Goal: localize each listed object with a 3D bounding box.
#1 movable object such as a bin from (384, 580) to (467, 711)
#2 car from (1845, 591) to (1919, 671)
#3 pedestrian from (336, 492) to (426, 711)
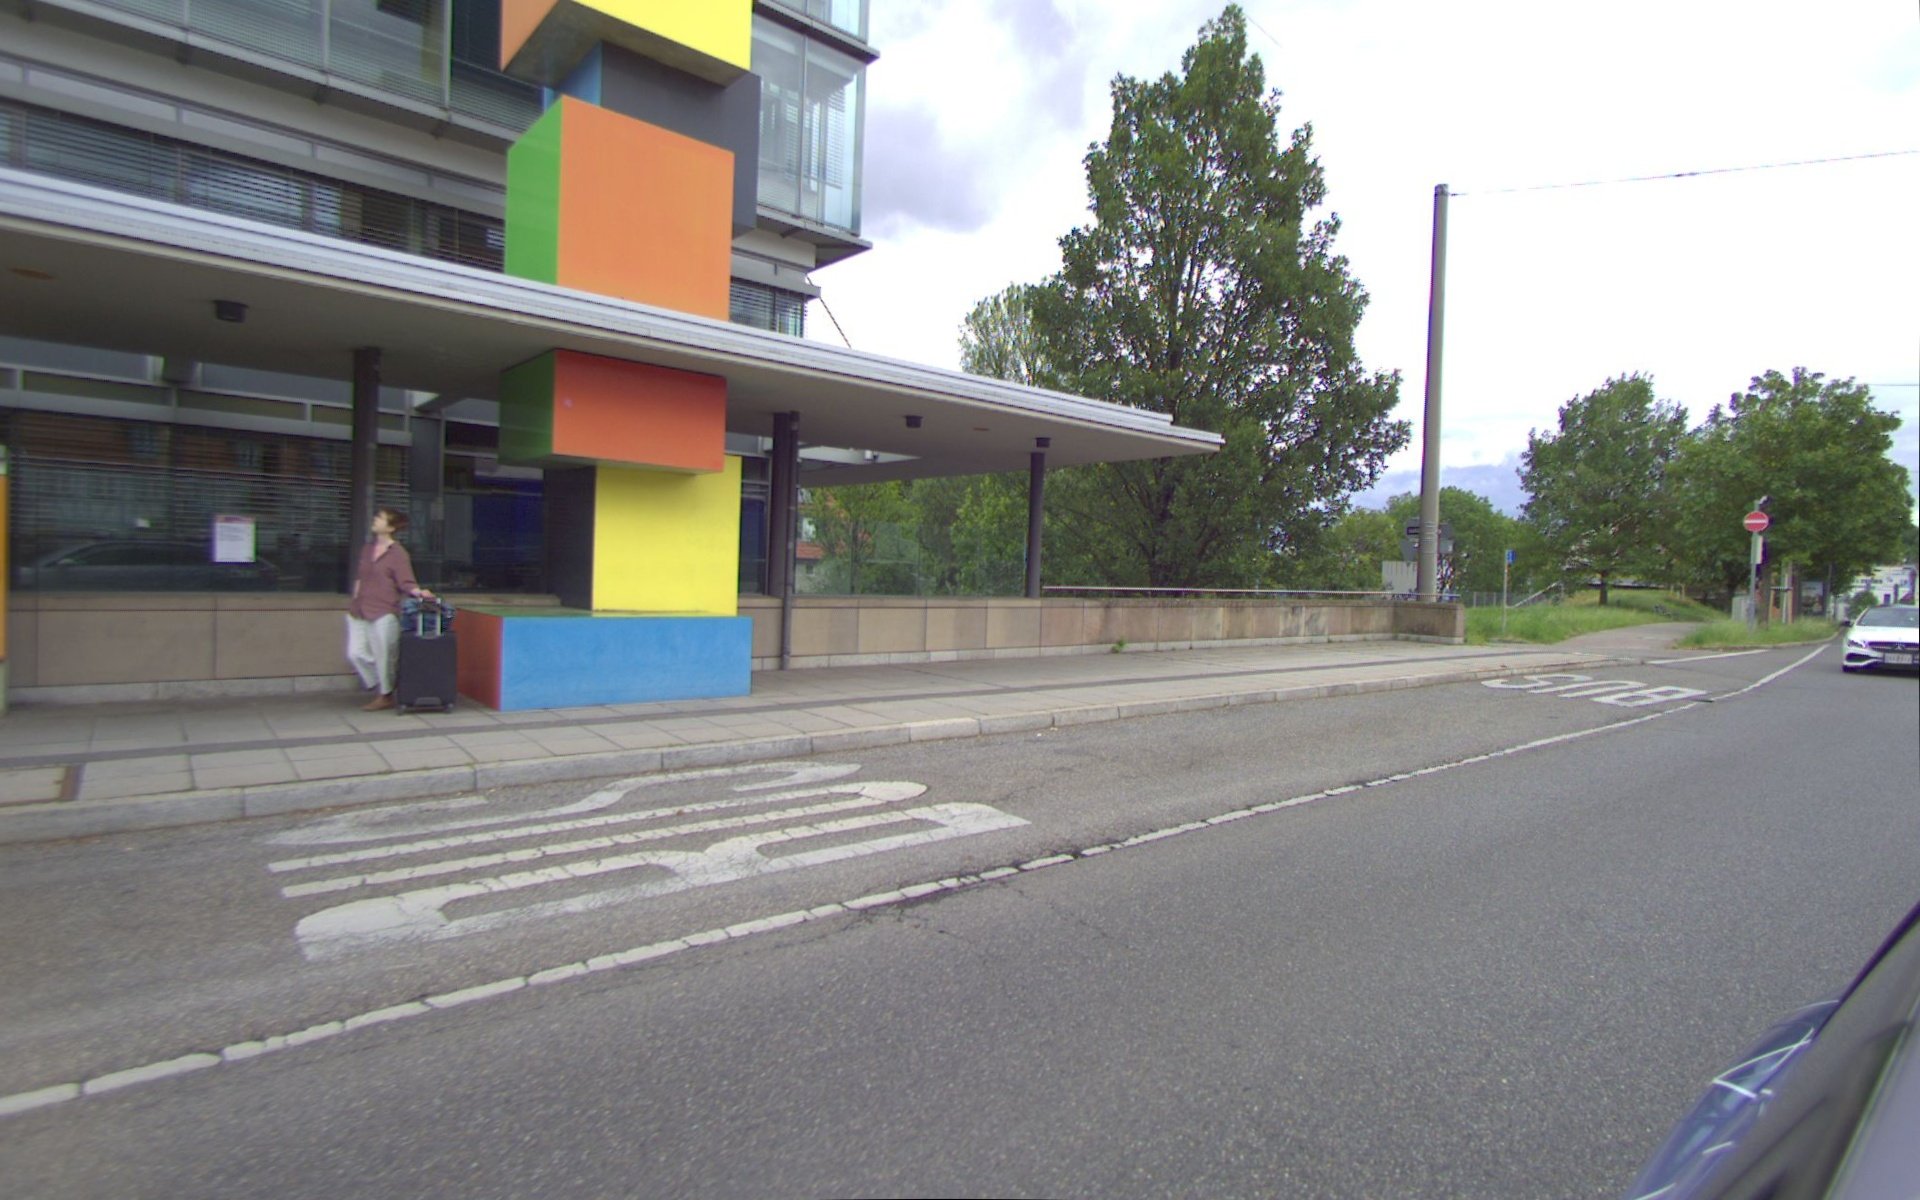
[{"bbox_3d":[-4.444,0.361,8.416,0.523,1.041,0.421,0,2,-41],"label":"movable object such as a bin"},{"bbox_3d":[20.253,0.598,21.639,1.867,1.524,4.700,3,2,42],"label":"car"},{"bbox_3d":[-4.851,0.001,8.482,0.562,1.757,0.509,0,2,-41],"label":"pedestrian"}]
